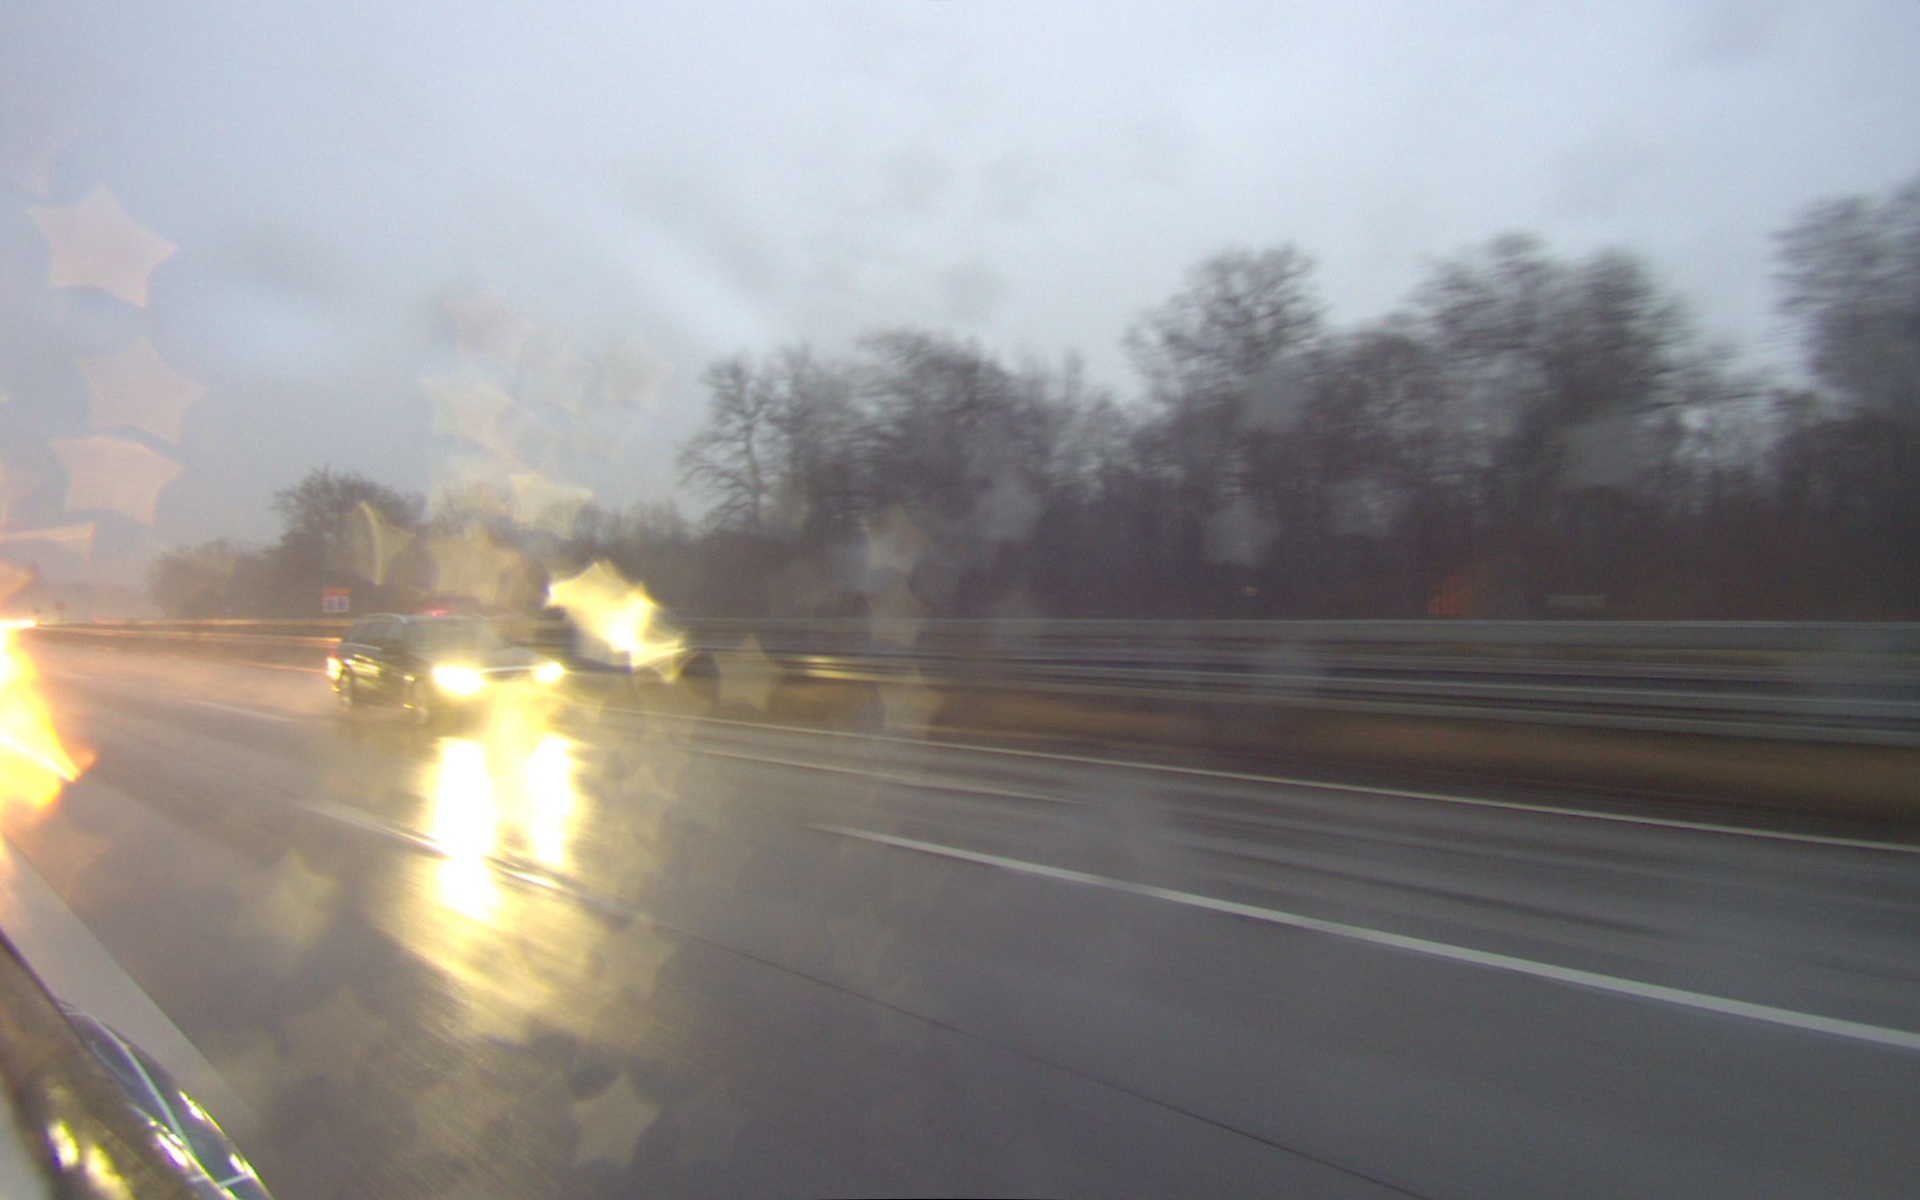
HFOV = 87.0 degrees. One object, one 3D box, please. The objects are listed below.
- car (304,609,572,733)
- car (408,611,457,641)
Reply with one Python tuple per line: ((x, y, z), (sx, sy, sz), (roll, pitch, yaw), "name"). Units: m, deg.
((-7.650, 0.944, 14.648), (4.408, 1.479, 1.781), (-2, 0, 39), "car")
((-29.088, 1.405, 55.792), (1.720, 1.498, 4.009), (-2, 1, -37), "car")
